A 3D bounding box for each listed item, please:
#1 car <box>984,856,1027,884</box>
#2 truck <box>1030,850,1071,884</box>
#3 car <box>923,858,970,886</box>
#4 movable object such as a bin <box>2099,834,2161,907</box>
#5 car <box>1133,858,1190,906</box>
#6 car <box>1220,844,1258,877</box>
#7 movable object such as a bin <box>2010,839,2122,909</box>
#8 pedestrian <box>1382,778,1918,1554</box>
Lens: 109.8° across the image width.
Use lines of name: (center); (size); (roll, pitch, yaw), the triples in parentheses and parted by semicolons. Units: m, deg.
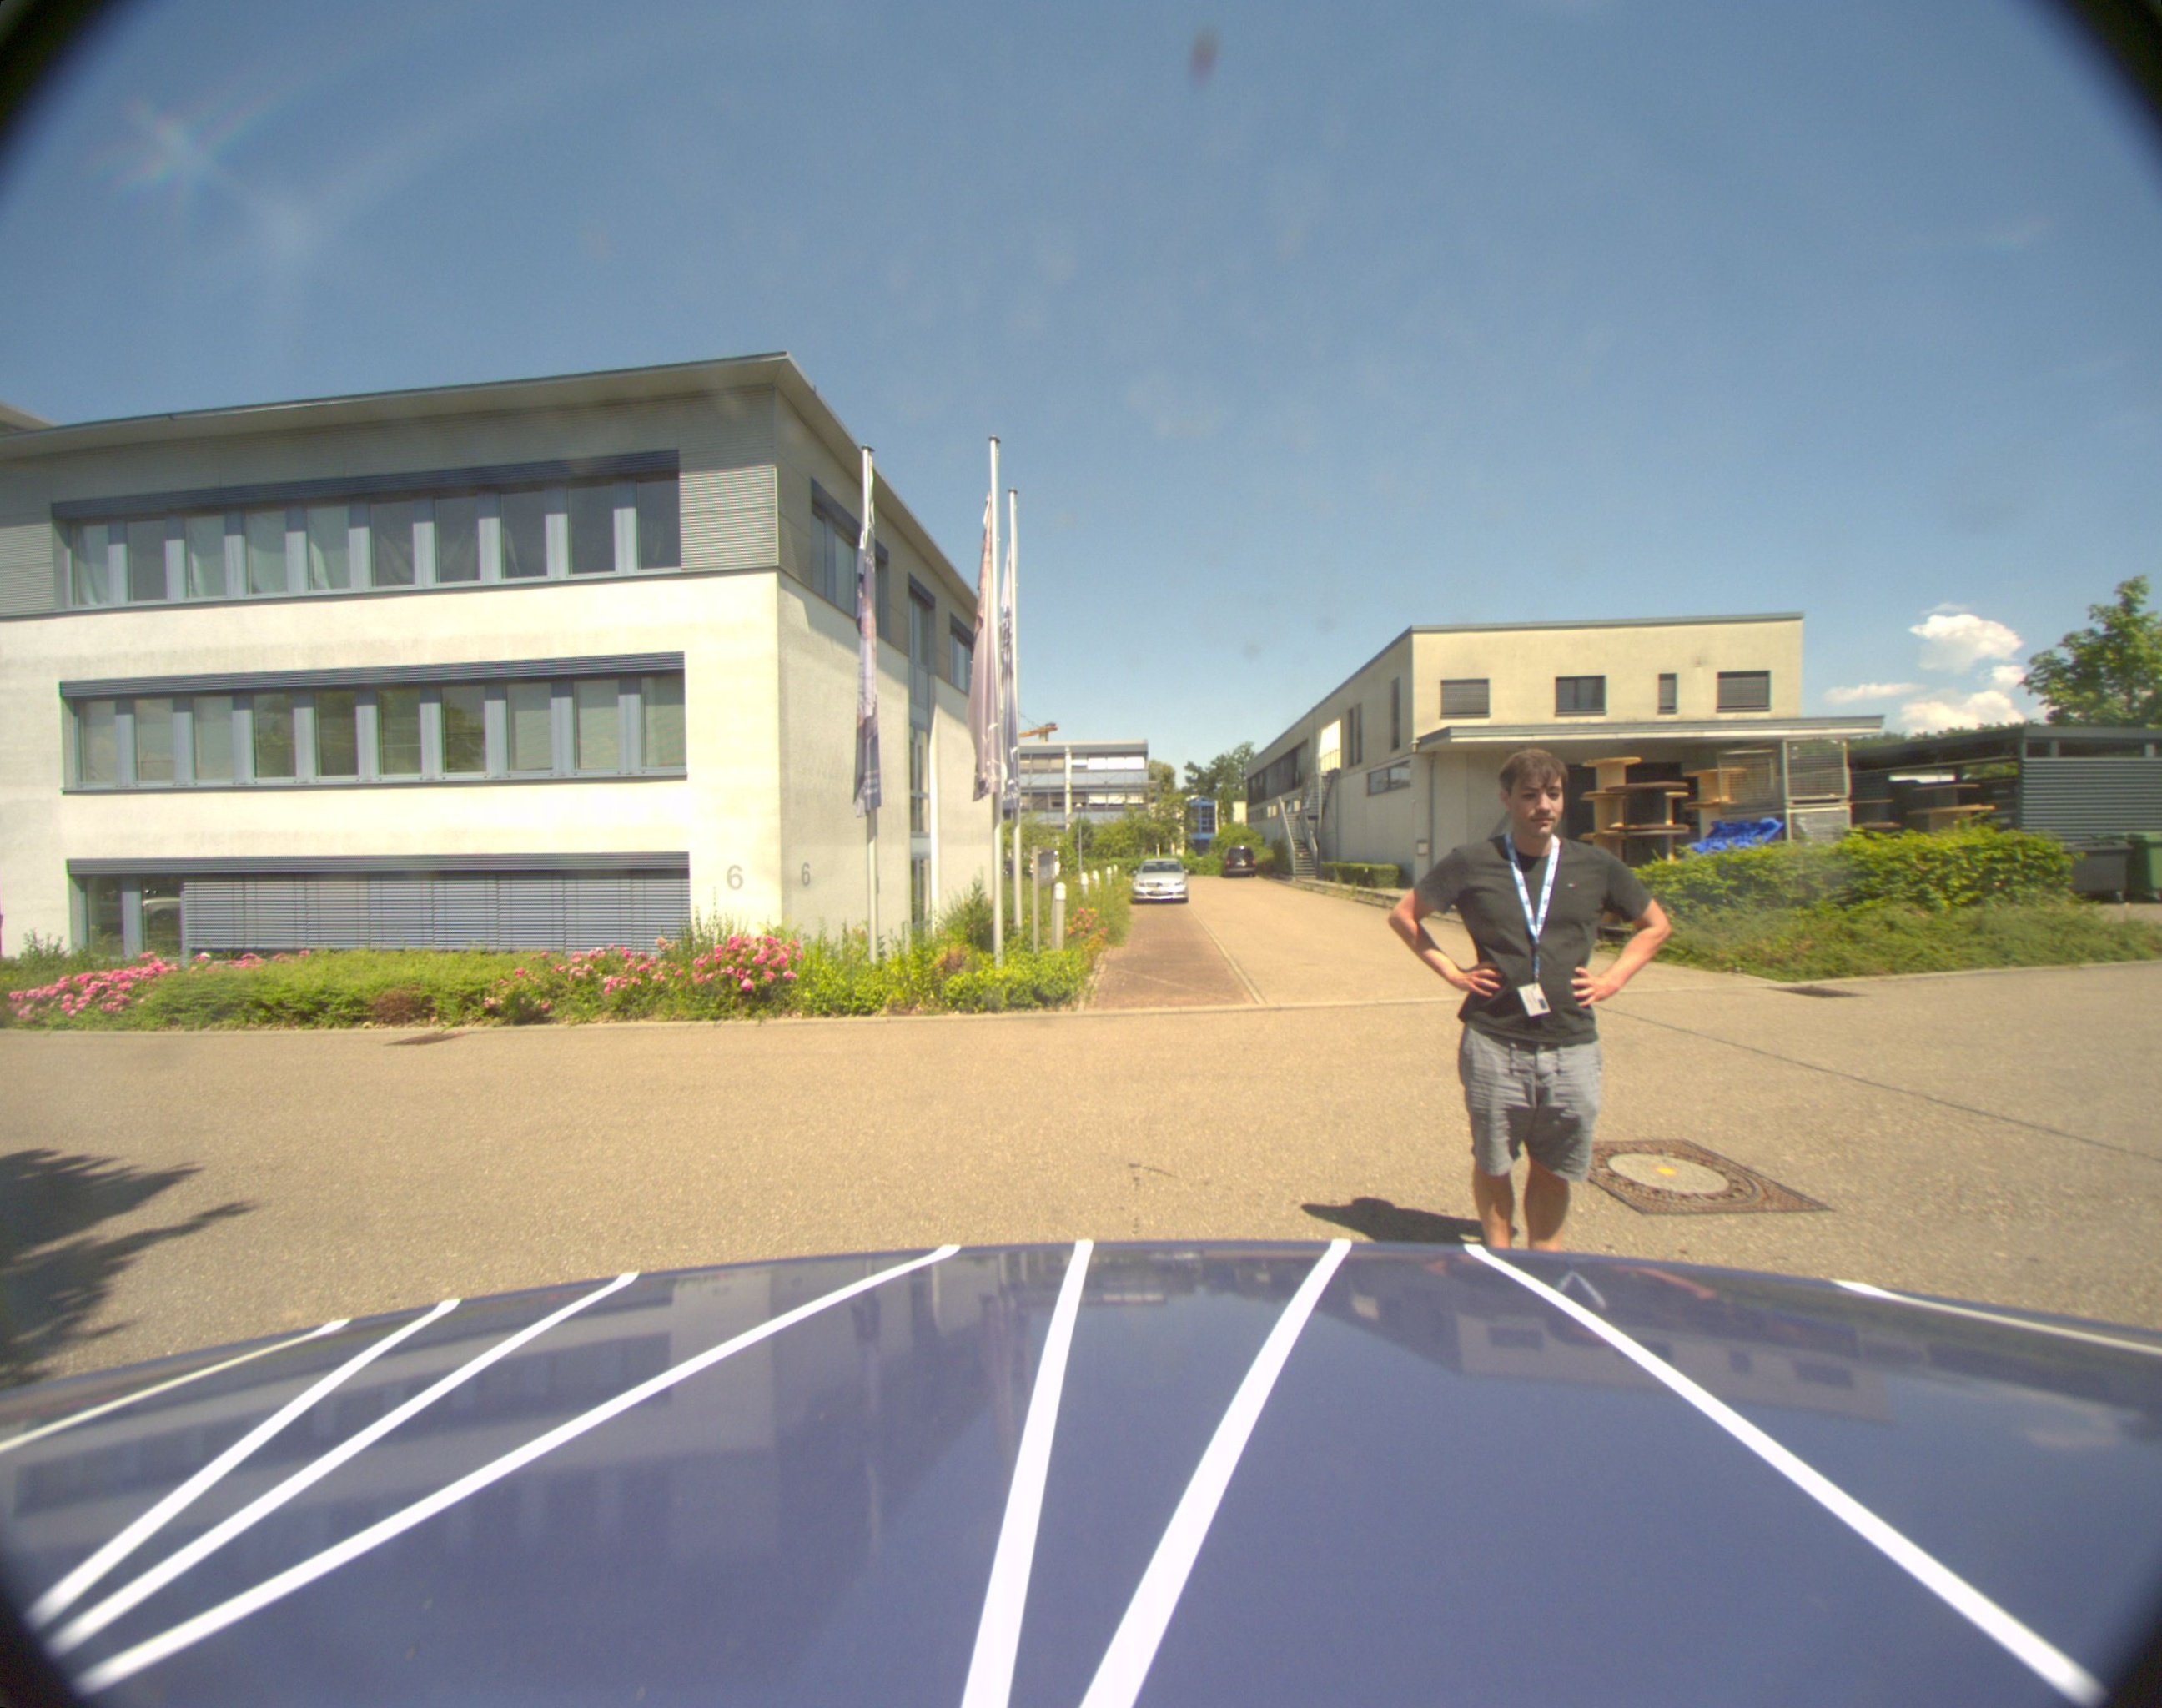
car: (-4.548, 0.928, 46.406); (1.787, 1.537, 4.001); (-2, 1, 5)
truck: (-1.786, 0.714, 45.428); (1.998, 1.882, 4.001); (-2, 0, 4)
car: (-8.209, 1.061, 46.783); (1.787, 1.537, 4.001); (-2, 1, 5)
movable object such as a bin: (20.139, 0.295, 14.221); (1.071, 1.329, 0.760); (-2, 1, 10)
car: (2.746, 0.882, 25.369); (1.710, 1.383, 3.813); (-1, 1, 9)
car: (9.392, 0.369, 45.409); (1.786, 1.793, 4.001); (-2, 1, 7)
movable object such as a bin: (18.832, 0.376, 14.550); (1.071, 1.264, 0.760); (-2, 1, 10)
pedestrian: (1.520, 0.740, 2.238); (0.860, 1.809, 0.904); (-2, 1, 1)
